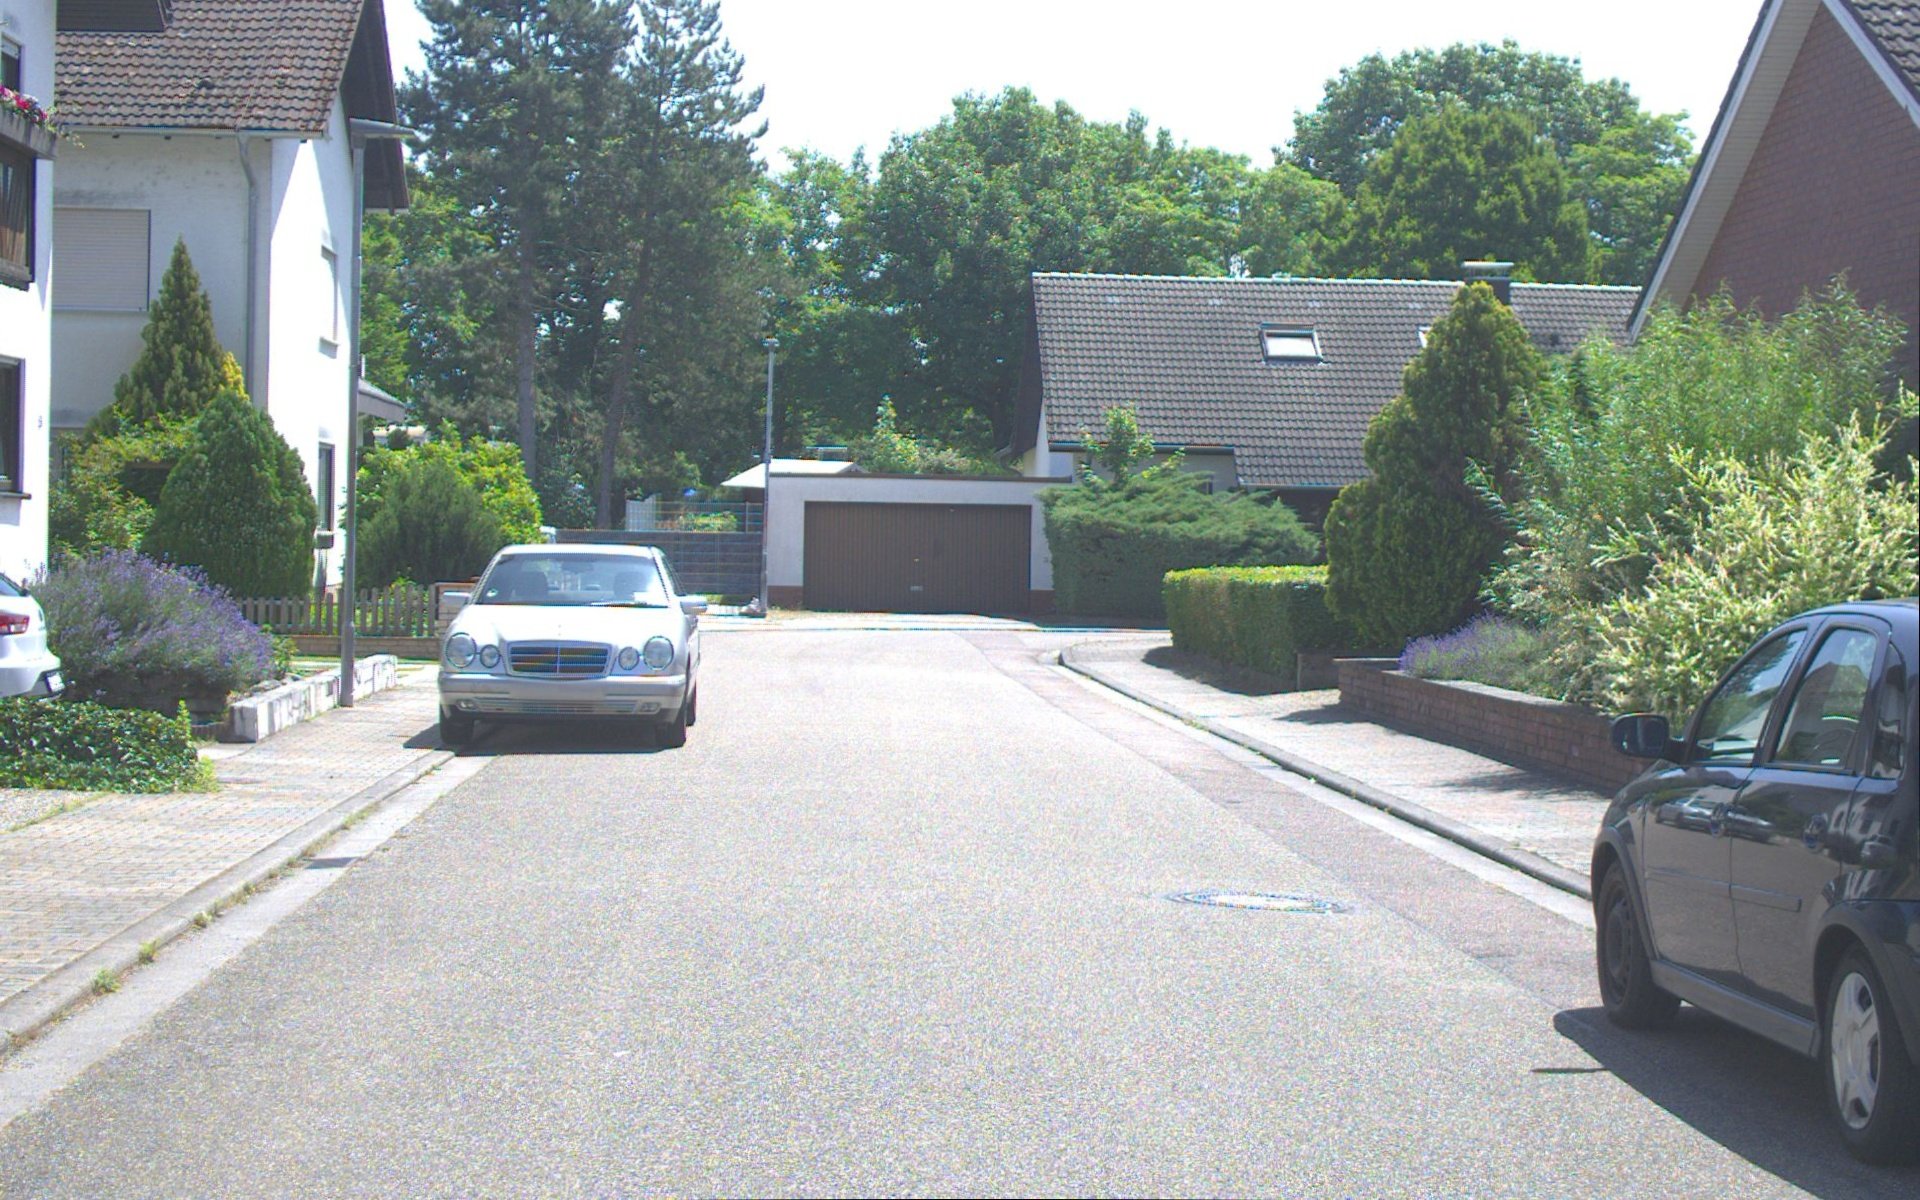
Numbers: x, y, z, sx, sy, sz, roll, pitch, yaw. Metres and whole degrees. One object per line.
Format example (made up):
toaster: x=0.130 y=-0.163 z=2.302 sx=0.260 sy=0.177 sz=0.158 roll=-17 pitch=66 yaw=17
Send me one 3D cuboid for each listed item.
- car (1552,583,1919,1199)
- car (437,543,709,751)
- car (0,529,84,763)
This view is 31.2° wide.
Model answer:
car: x=2.929 y=0.714 z=9.944 sx=1.650 sy=1.435 sz=3.652 roll=1 pitch=1 yaw=-2
car: x=-2.842 y=0.290 z=25.996 sx=1.699 sy=1.388 sz=4.337 roll=1 pitch=1 yaw=-2
car: x=-7.702 y=0.229 z=21.729 sx=3.986 sy=1.415 sz=1.846 roll=1 pitch=1 yaw=-8
